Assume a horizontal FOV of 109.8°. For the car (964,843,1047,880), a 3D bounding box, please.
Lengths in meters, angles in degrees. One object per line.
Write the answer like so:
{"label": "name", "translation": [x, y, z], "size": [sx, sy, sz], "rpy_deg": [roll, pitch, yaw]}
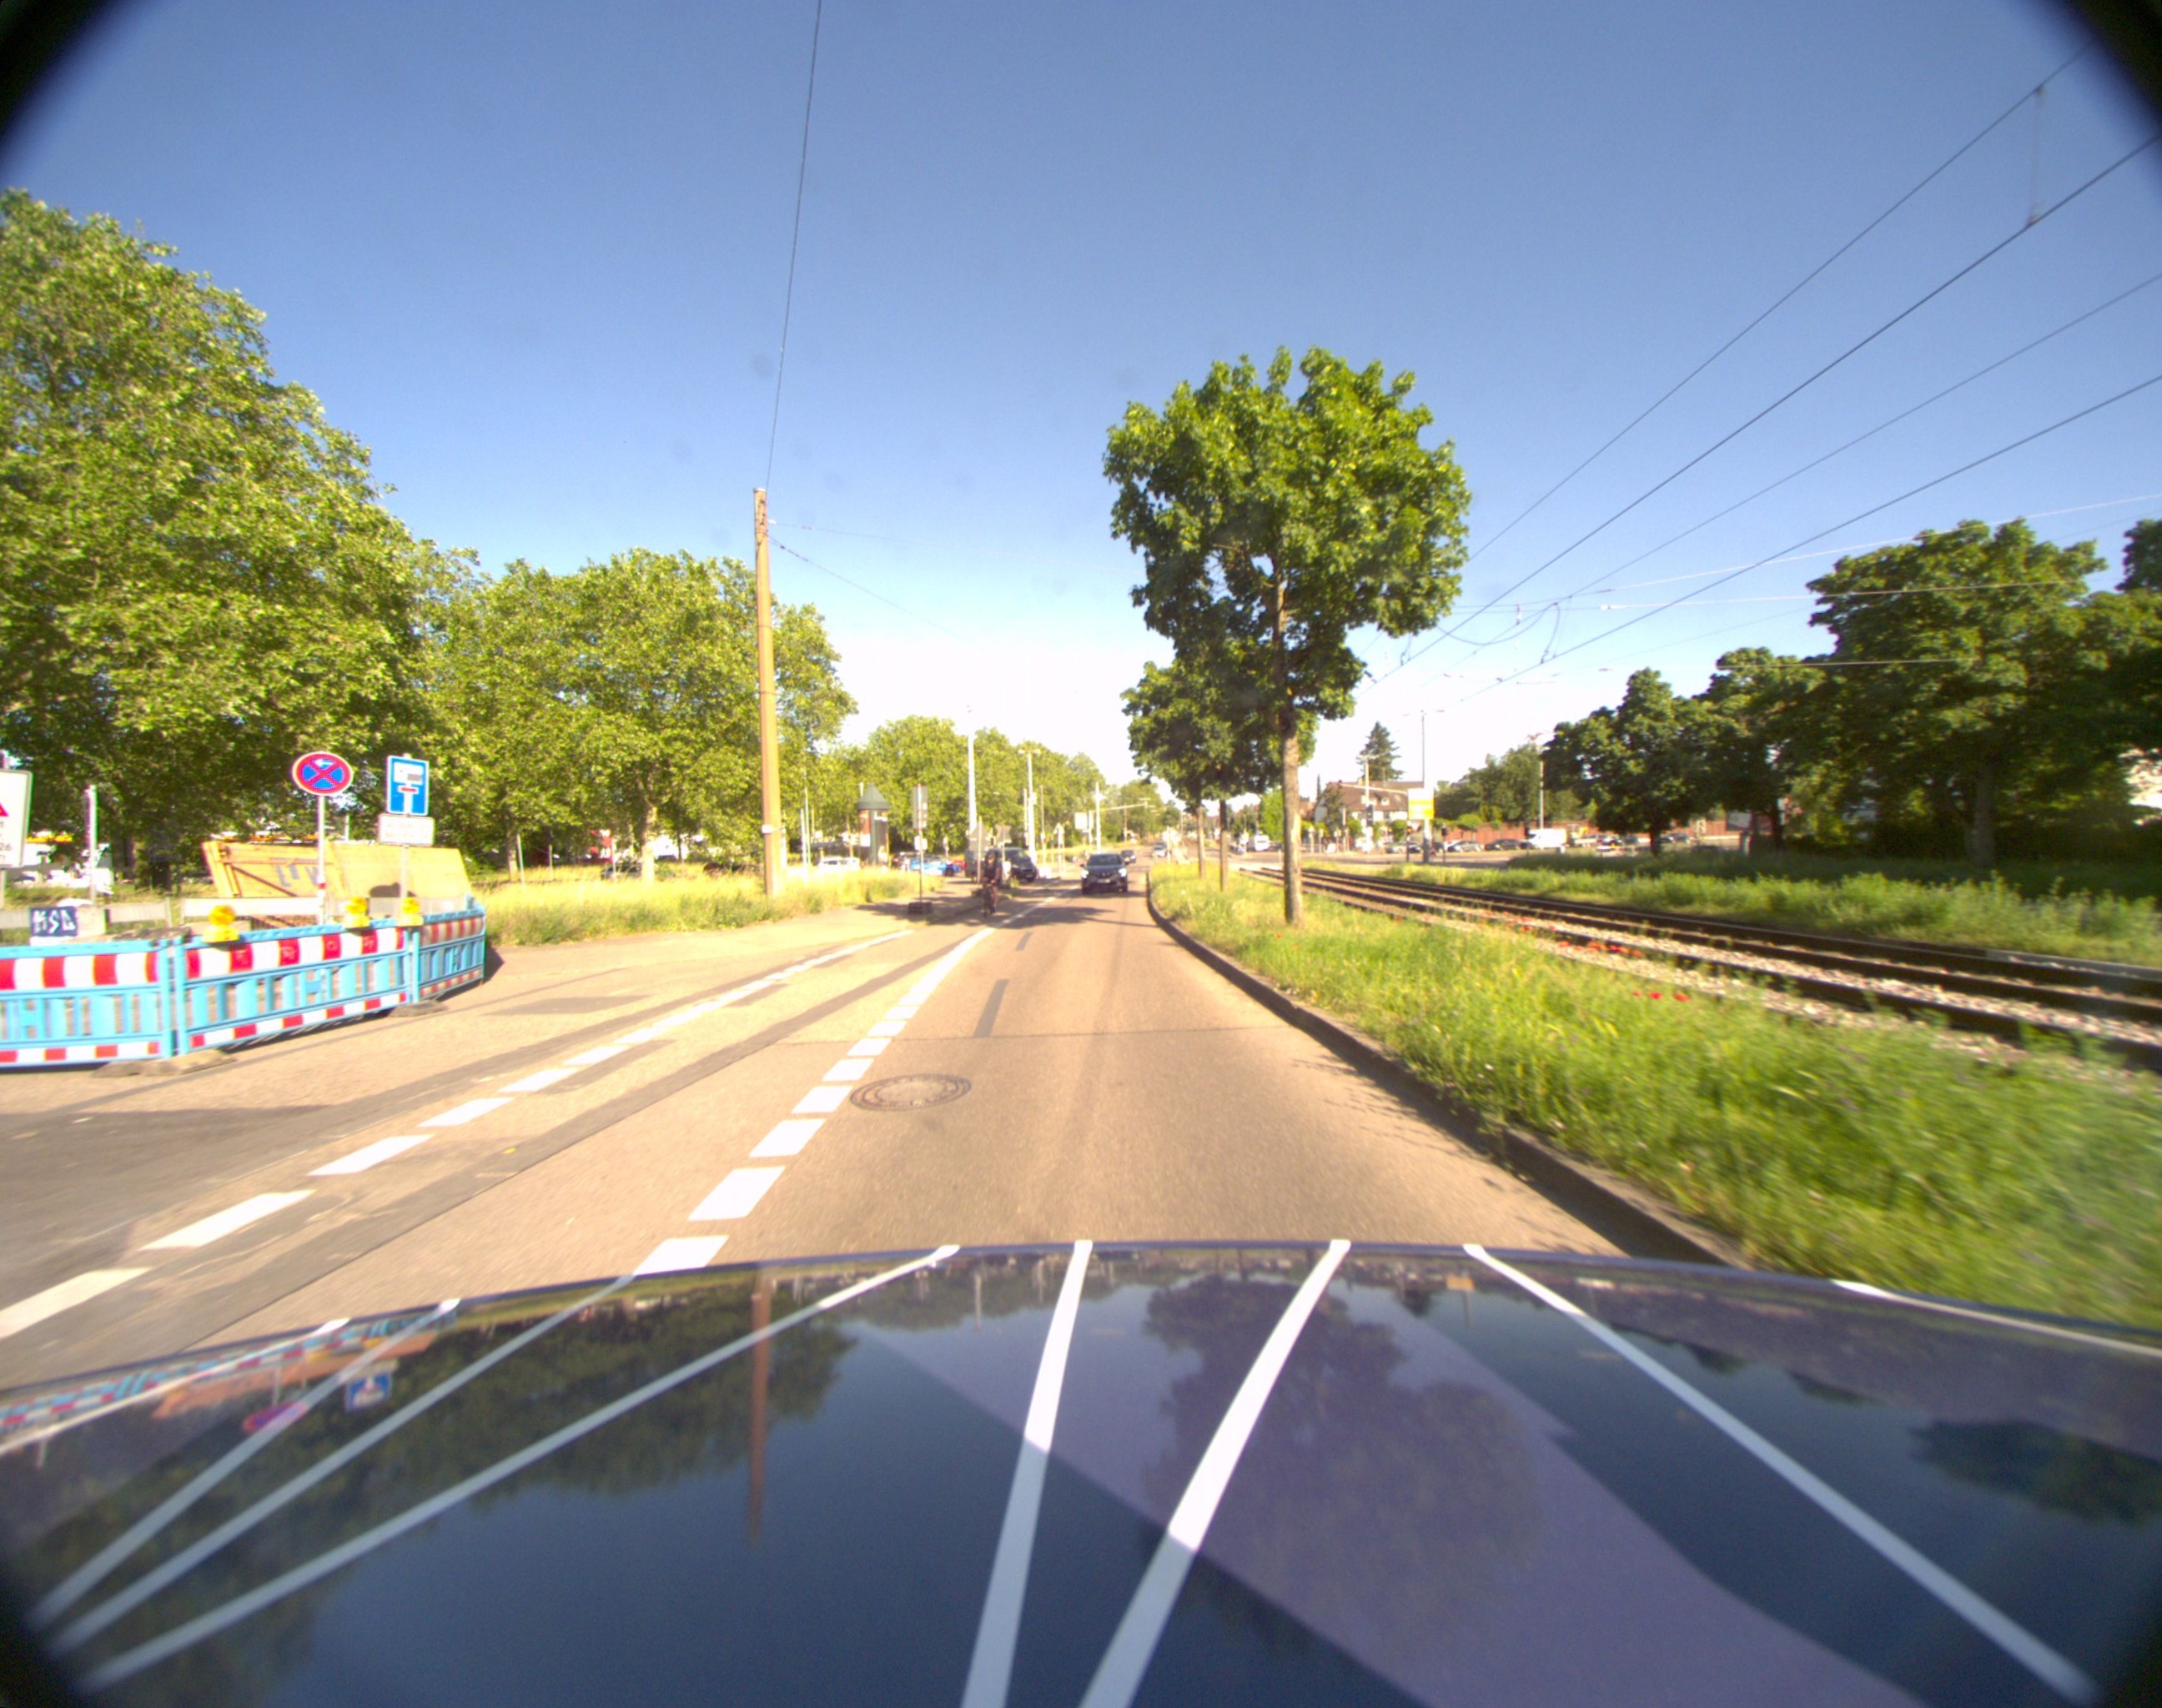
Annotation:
{"label": "car", "translation": [-4.650, 0.421, 46.220], "size": [5.104, 2.059, 2.135], "rpy_deg": [0, 2, 42]}

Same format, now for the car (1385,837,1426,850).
{"label": "car", "translation": [39.497, -1.305, 92.465], "size": [4.640, 1.469, 1.669], "rpy_deg": [-2, 2, -21]}

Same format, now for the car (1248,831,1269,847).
{"label": "car", "translation": [27.752, -2.397, 119.083], "size": [2.346, 2.444, 6.871], "rpy_deg": [-1, 2, 6]}

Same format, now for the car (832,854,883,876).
{"label": "car", "translation": [-18.086, 0.878, 61.506], "size": [3.862, 1.591, 1.710], "rpy_deg": [-2, 1, -17]}

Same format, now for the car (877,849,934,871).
{"label": "car", "translation": [-15.208, 0.526, 65.806], "size": [4.499, 1.702, 1.917], "rpy_deg": [-2, 2, -21]}

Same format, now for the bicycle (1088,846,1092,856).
{"label": "bicycle", "translation": [1.000, -0.341, 87.640], "size": [0.468, 1.112, 1.819], "rpy_deg": [-1, 2, 1]}

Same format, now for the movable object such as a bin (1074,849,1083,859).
{"label": "movable object such as a bin", "translation": [-0.275, 0.008, 86.124], "size": [0.911, 1.062, 1.316], "rpy_deg": [-1, 2, 1]}

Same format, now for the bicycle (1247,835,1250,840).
{"label": "bicycle", "translation": [31.595, -3.116, 143.281], "size": [0.508, 1.036, 1.949], "rpy_deg": [-1, 2, 7]}

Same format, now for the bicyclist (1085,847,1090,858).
{"label": "bicyclist", "translation": [0.782, -0.182, 87.040], "size": [0.511, 1.333, 0.565], "rpy_deg": [-1, 2, 0]}

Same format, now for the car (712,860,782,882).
{"label": "car", "translation": [-24.344, 1.239, 55.589], "size": [4.574, 1.400, 1.931], "rpy_deg": [-2, 1, -21]}

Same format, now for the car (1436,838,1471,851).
{"label": "car", "translation": [46.886, -1.196, 95.551], "size": [4.004, 1.469, 1.669], "rpy_deg": [-2, 2, -21]}

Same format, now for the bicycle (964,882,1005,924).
{"label": "bicycle", "translation": [-2.528, 1.272, 20.134], "size": [0.525, 0.918, 2.089], "rpy_deg": [-1, 2, 8]}

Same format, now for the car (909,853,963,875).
{"label": "car", "translation": [-11.318, 0.754, 59.382], "size": [3.864, 1.591, 1.710], "rpy_deg": [-2, 1, -23]}

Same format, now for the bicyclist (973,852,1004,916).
{"label": "bicyclist", "translation": [-2.511, 0.796, 20.670], "size": [0.616, 1.670, 0.933], "rpy_deg": [-1, 2, 6]}

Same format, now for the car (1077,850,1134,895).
{"label": "car", "translation": [1.025, 0.676, 29.712], "size": [1.838, 1.542, 3.817], "rpy_deg": [-1, 2, 7]}

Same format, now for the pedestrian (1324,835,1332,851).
{"label": "pedestrian", "translation": [30.411, -1.351, 93.492], "size": [0.612, 1.937, 0.774], "rpy_deg": [-3, 2, -37]}

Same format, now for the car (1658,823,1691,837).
{"label": "car", "translation": [79.645, -3.207, 101.947], "size": [4.004, 1.732, 1.805], "rpy_deg": [-2, 1, -22]}

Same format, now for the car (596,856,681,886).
{"label": "car", "translation": [-31.017, 1.166, 53.441], "size": [4.780, 1.673, 1.905], "rpy_deg": [-3, 3, -20]}

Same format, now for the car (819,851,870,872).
{"label": "car", "translation": [-19.850, 0.645, 63.764], "size": [4.003, 1.608, 1.996], "rpy_deg": [-2, 1, -20]}

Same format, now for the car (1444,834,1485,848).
{"label": "car", "translation": [46.022, -1.550, 91.144], "size": [4.263, 1.458, 1.935], "rpy_deg": [-2, 1, -21]}

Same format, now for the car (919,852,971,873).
{"label": "car", "translation": [-11.388, 0.731, 63.638], "size": [4.093, 1.591, 1.814], "rpy_deg": [-2, 0, -17]}

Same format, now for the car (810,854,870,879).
{"label": "car", "translation": [-18.120, 0.915, 57.129], "size": [4.179, 1.669, 1.931], "rpy_deg": [-2, 1, -21]}

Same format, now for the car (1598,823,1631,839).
{"label": "car", "translation": [72.955, -3.124, 103.887], "size": [4.004, 2.002, 1.804], "rpy_deg": [-2, 2, -22]}

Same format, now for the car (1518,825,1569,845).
{"label": "car", "translation": [57.776, -2.384, 94.865], "size": [5.926, 2.397, 2.177], "rpy_deg": [-2, 2, -18]}

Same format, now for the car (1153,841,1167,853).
{"label": "car", "translation": [10.778, -0.949, 103.606], "size": [1.881, 1.519, 4.421], "rpy_deg": [-1, 2, 6]}

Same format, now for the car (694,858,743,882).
{"label": "car", "translation": [-27.511, 1.212, 57.768], "size": [3.212, 1.608, 1.369], "rpy_deg": [-2, 5, -21]}

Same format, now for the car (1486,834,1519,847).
{"label": "car", "translation": [51.388, -1.631, 92.637], "size": [3.530, 1.559, 1.495], "rpy_deg": [-2, 1, -18]}

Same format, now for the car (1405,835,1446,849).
{"label": "car", "translation": [40.659, -1.425, 89.589], "size": [4.252, 1.458, 1.934], "rpy_deg": [-2, 2, -21]}

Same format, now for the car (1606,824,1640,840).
{"label": "car", "translation": [71.230, -2.949, 99.860], "size": [4.004, 2.002, 1.804], "rpy_deg": [-2, 2, -22]}

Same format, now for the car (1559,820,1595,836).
{"label": "car", "translation": [63.388, -3.285, 97.064], "size": [4.004, 2.002, 1.804], "rpy_deg": [-2, 2, -21]}
